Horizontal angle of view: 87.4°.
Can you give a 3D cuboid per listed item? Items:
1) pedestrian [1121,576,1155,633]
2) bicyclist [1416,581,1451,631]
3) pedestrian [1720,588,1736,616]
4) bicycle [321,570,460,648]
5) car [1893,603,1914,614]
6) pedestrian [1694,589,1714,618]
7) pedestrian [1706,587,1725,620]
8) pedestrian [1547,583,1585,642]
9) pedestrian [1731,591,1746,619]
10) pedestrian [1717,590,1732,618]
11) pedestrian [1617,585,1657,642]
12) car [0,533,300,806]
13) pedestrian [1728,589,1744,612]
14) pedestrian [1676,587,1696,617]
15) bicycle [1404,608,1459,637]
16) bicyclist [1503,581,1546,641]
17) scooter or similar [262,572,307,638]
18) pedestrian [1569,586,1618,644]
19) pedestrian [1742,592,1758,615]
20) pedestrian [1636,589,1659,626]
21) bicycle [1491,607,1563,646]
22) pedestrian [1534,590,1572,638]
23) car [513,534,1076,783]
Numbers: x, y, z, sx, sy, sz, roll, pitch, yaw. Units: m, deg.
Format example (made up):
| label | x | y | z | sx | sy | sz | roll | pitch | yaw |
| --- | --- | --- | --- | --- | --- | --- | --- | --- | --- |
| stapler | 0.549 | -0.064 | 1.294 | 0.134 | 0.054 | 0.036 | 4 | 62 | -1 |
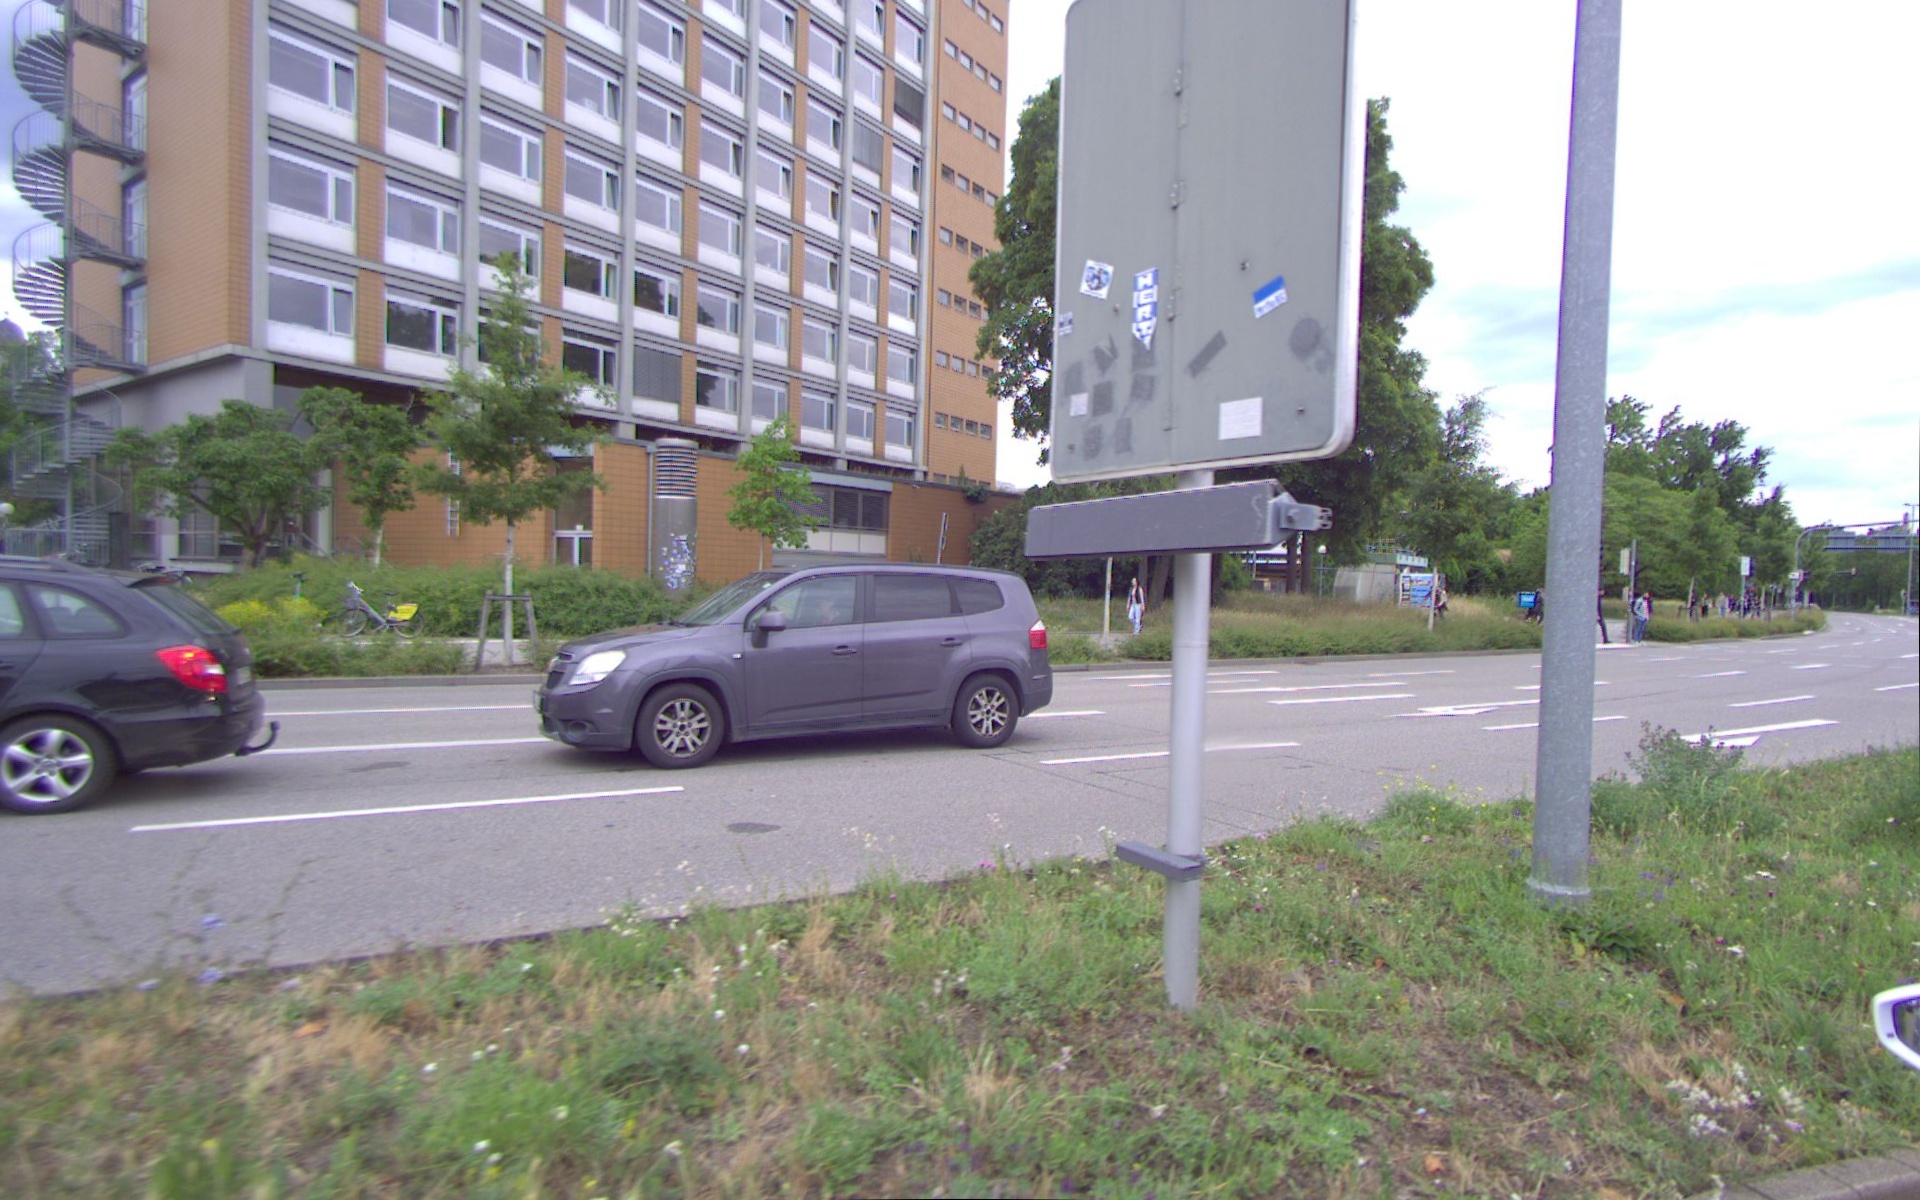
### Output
| label | x | y | z | sx | sy | sz | roll | pitch | yaw |
| --- | --- | --- | --- | --- | --- | --- | --- | --- | --- |
| pedestrian | 4.971 | 0.128 | 28.049 | 0.747 | 1.562 | 0.558 | 0 | 2 | -32 |
| bicyclist | 15.433 | 0.197 | 32.754 | 0.704 | 1.591 | 0.711 | 0 | 2 | -32 |
| pedestrian | 56.782 | 0.158 | 74.239 | 1.040 | 2.041 | 0.747 | 0 | 1 | -44 |
| bicycle | -11.130 | 0.167 | 19.690 | 2.211 | 1.468 | 0.849 | 1 | 1 | -4 |
| car | 123.766 | 1.115 | 131.810 | 1.690 | 1.282 | 3.326 | 2 | 2 | 38 |
| pedestrian | 44.890 | 0.228 | 60.594 | 1.038 | 1.735 | 0.748 | 0 | 1 | -40 |
| pedestrian | 47.279 | 0.217 | 62.857 | 1.038 | 2.041 | 0.748 | 0 | 1 | -40 |
| pedestrian | 19.673 | 0.402 | 32.624 | 0.757 | 1.867 | 0.753 | 0 | 2 | -31 |
| pedestrian | 54.232 | 0.327 | 69.978 | 0.752 | 1.895 | 0.707 | 0 | 1 | -44 |
| pedestrian | 53.634 | 0.288 | 70.478 | 0.752 | 1.895 | 0.707 | 0 | 1 | -44 |
| pedestrian | 22.710 | 0.444 | 33.685 | 0.659 | 1.867 | 0.888 | 0 | 1 | -31 |
| car | -6.694 | 0.401 | 5.981 | 4.422 | 1.528 | 1.863 | 0 | -1 | -28 |
| pedestrian | 63.141 | 0.036 | 81.731 | 0.908 | 1.803 | 1.058 | 2 | 2 | 41 |
| pedestrian | 44.042 | 0.130 | 60.913 | 0.899 | 1.789 | 0.748 | 0 | 1 | -40 |
| bicycle | 15.384 | 0.727 | 32.750 | 1.862 | 0.894 | 0.711 | 0 | 1 | -32 |
| bicyclist | 17.715 | 0.341 | 31.519 | 0.819 | 1.869 | 0.791 | 1 | 1 | -10 |
| scooter or similar | -14.005 | 0.085 | 20.809 | 0.625 | 1.320 | 1.755 | 0 | 1 | -39 |
| pedestrian | 20.895 | 0.490 | 33.135 | 0.856 | 1.867 | 1.043 | 0 | 1 | -31 |
| pedestrian | 63.834 | 0.263 | 81.121 | 0.908 | 1.803 | 1.058 | 2 | 2 | 41 |
| pedestrian | 38.307 | 0.434 | 55.956 | 1.038 | 2.041 | 0.748 | 0 | 1 | -40 |
| bicycle | 17.802 | 0.834 | 31.543 | 1.873 | 1.174 | 0.790 | 1 | 1 | -11 |
| pedestrian | 20.840 | 0.485 | 35.291 | 0.797 | 1.671 | 0.837 | 0 | 1 | -31 |
| car | -1.388 | 0.427 | 9.016 | 4.656 | 1.748 | 1.862 | 0 | 0 | -30 |
